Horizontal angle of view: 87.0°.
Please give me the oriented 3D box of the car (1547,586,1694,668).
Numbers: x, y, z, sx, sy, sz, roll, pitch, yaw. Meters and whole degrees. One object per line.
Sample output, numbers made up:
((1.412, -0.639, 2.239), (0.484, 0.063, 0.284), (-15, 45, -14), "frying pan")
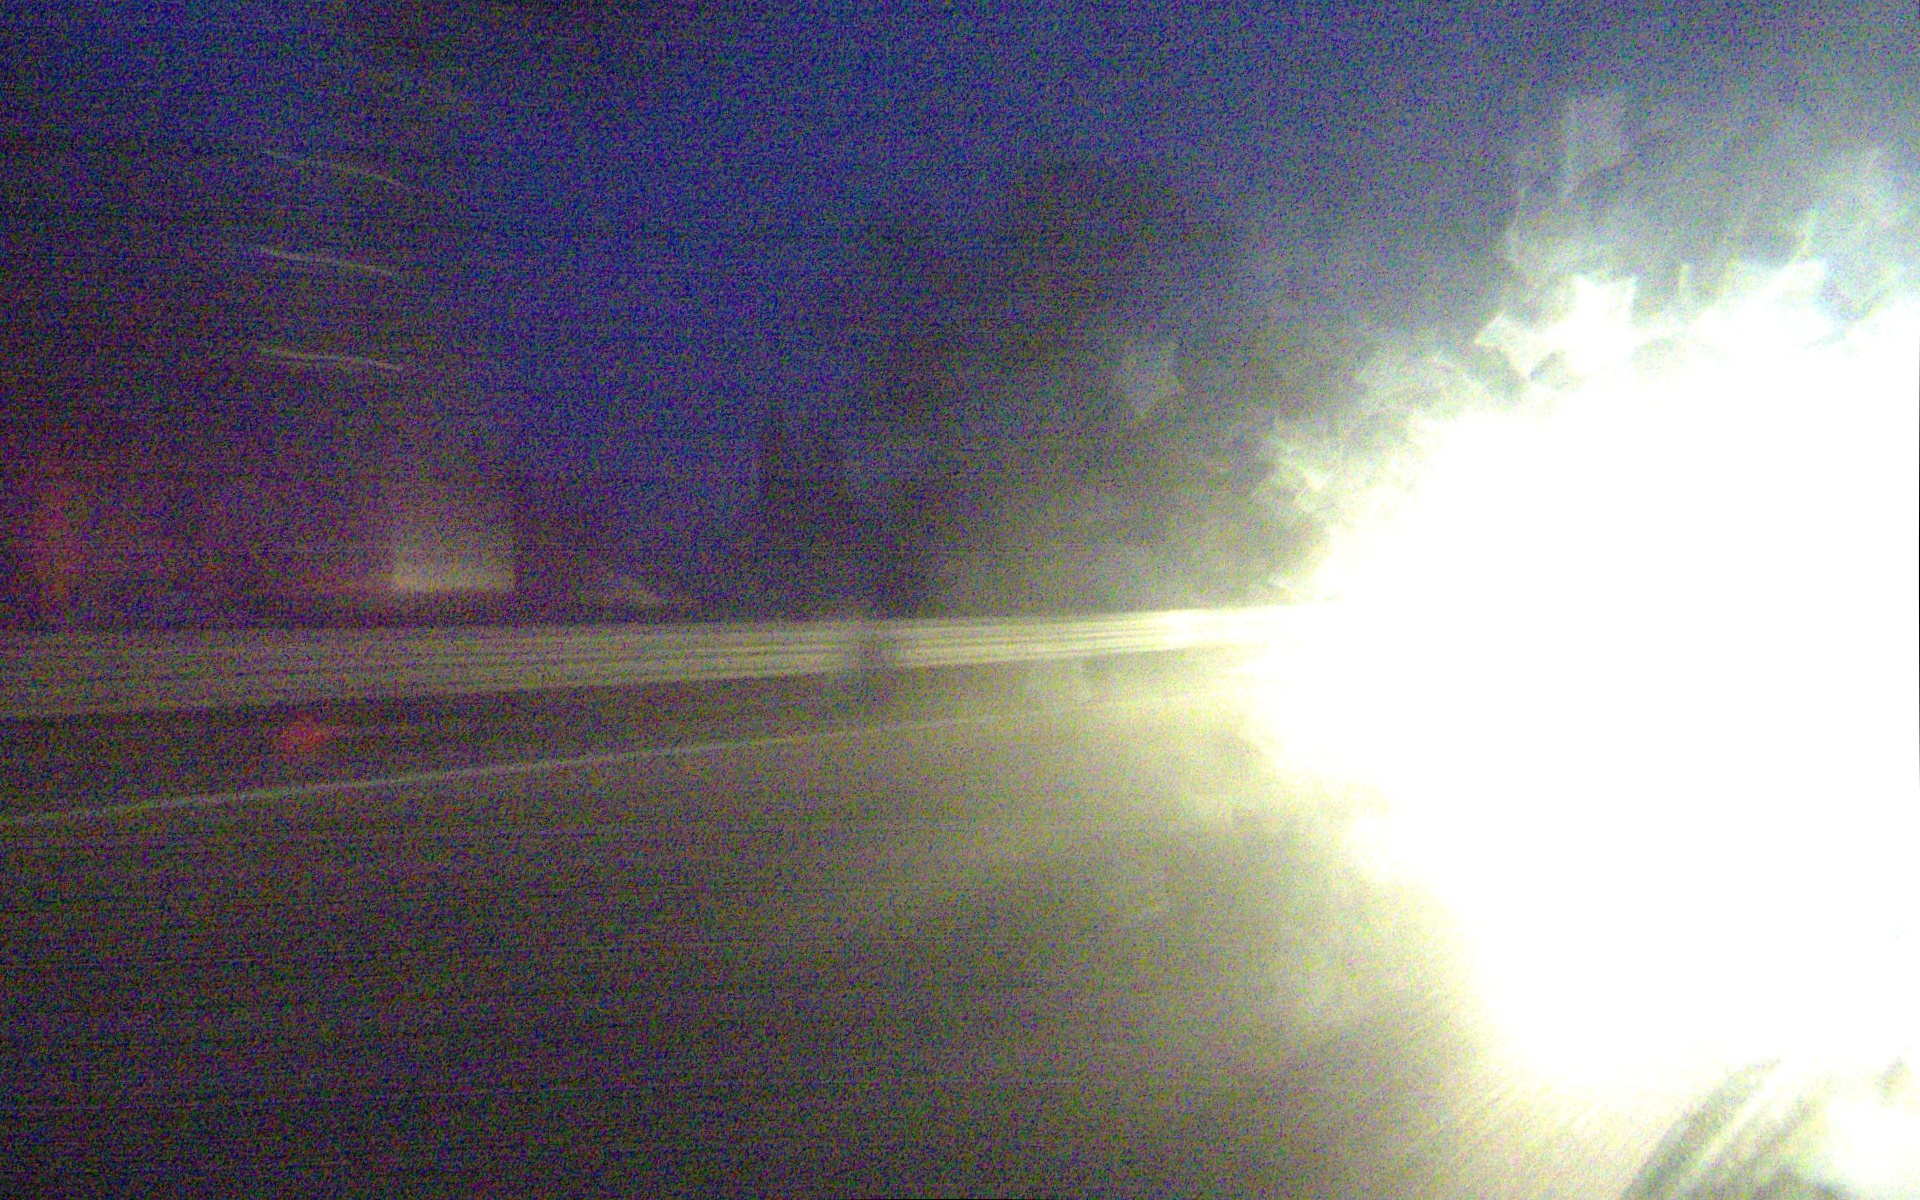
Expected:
((13.700, 0.505, 20.901), (3.945, 1.522, 1.641), (0, 1, -43), "car")

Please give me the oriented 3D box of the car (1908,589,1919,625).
((52.339, 0.400, 54.191), (4.615, 1.870, 1.830), (2, -2, -41), "car")
